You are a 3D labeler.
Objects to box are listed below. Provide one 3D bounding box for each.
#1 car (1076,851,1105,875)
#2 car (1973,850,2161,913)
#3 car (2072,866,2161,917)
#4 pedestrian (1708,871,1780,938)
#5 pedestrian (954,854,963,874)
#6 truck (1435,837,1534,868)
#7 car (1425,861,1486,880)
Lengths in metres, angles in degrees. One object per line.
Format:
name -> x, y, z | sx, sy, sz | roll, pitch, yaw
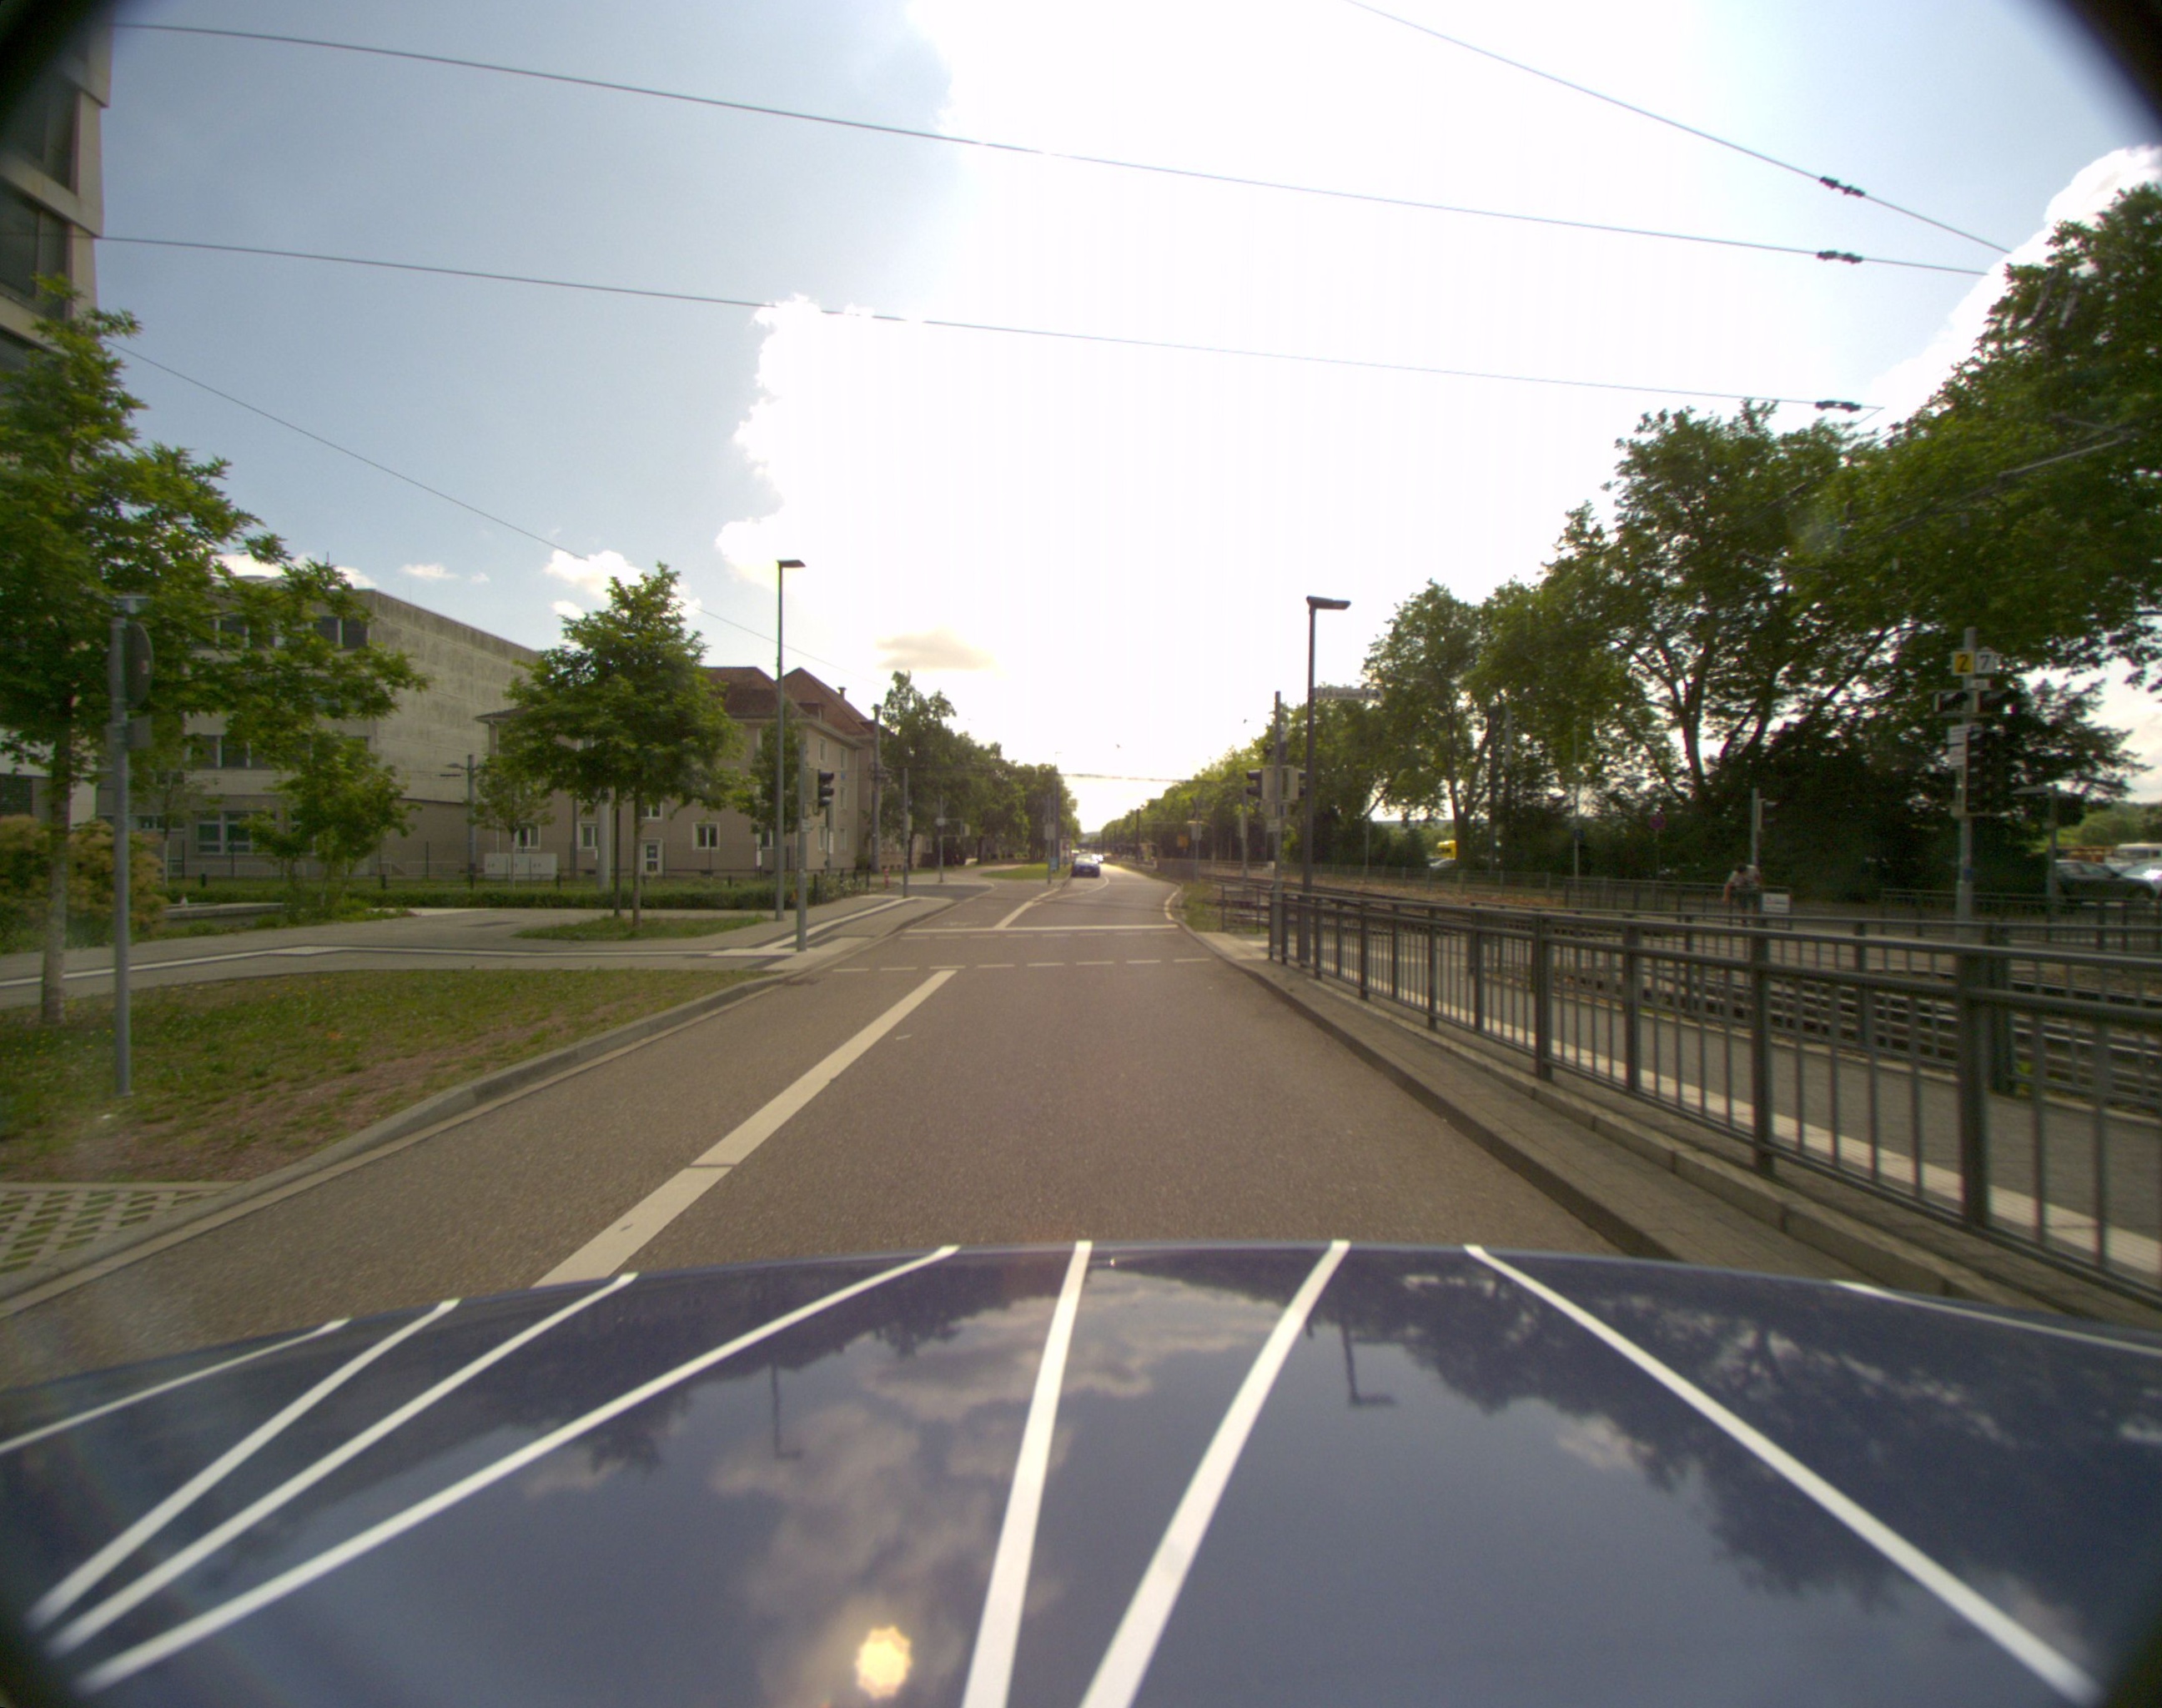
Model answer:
car -> 0.617, 0.624, 53.787 | 1.784, 1.531, 4.420 | 2, 0, -2
car -> 31.923, 0.858, 24.382 | 4.107, 1.821, 2.000 | 2, 1, 1
car -> 42.822, 1.515, 30.277 | 4.108, 1.888, 1.999 | 2, 1, -3
pedestrian -> 14.139, 1.057, 16.214 | 0.866, 1.335, 0.920 | 2, 1, -33
pedestrian -> -10.307, 0.820, 63.745 | 0.624, 1.598, 0.624 | 2, 1, -4
truck -> 58.602, -0.212, 110.538 | 12.819, 4.050, 2.748 | 2, 1, 1
car -> 30.860, 1.349, 62.644 | 3.997, 1.433, 2.000 | 1, 0, 0
